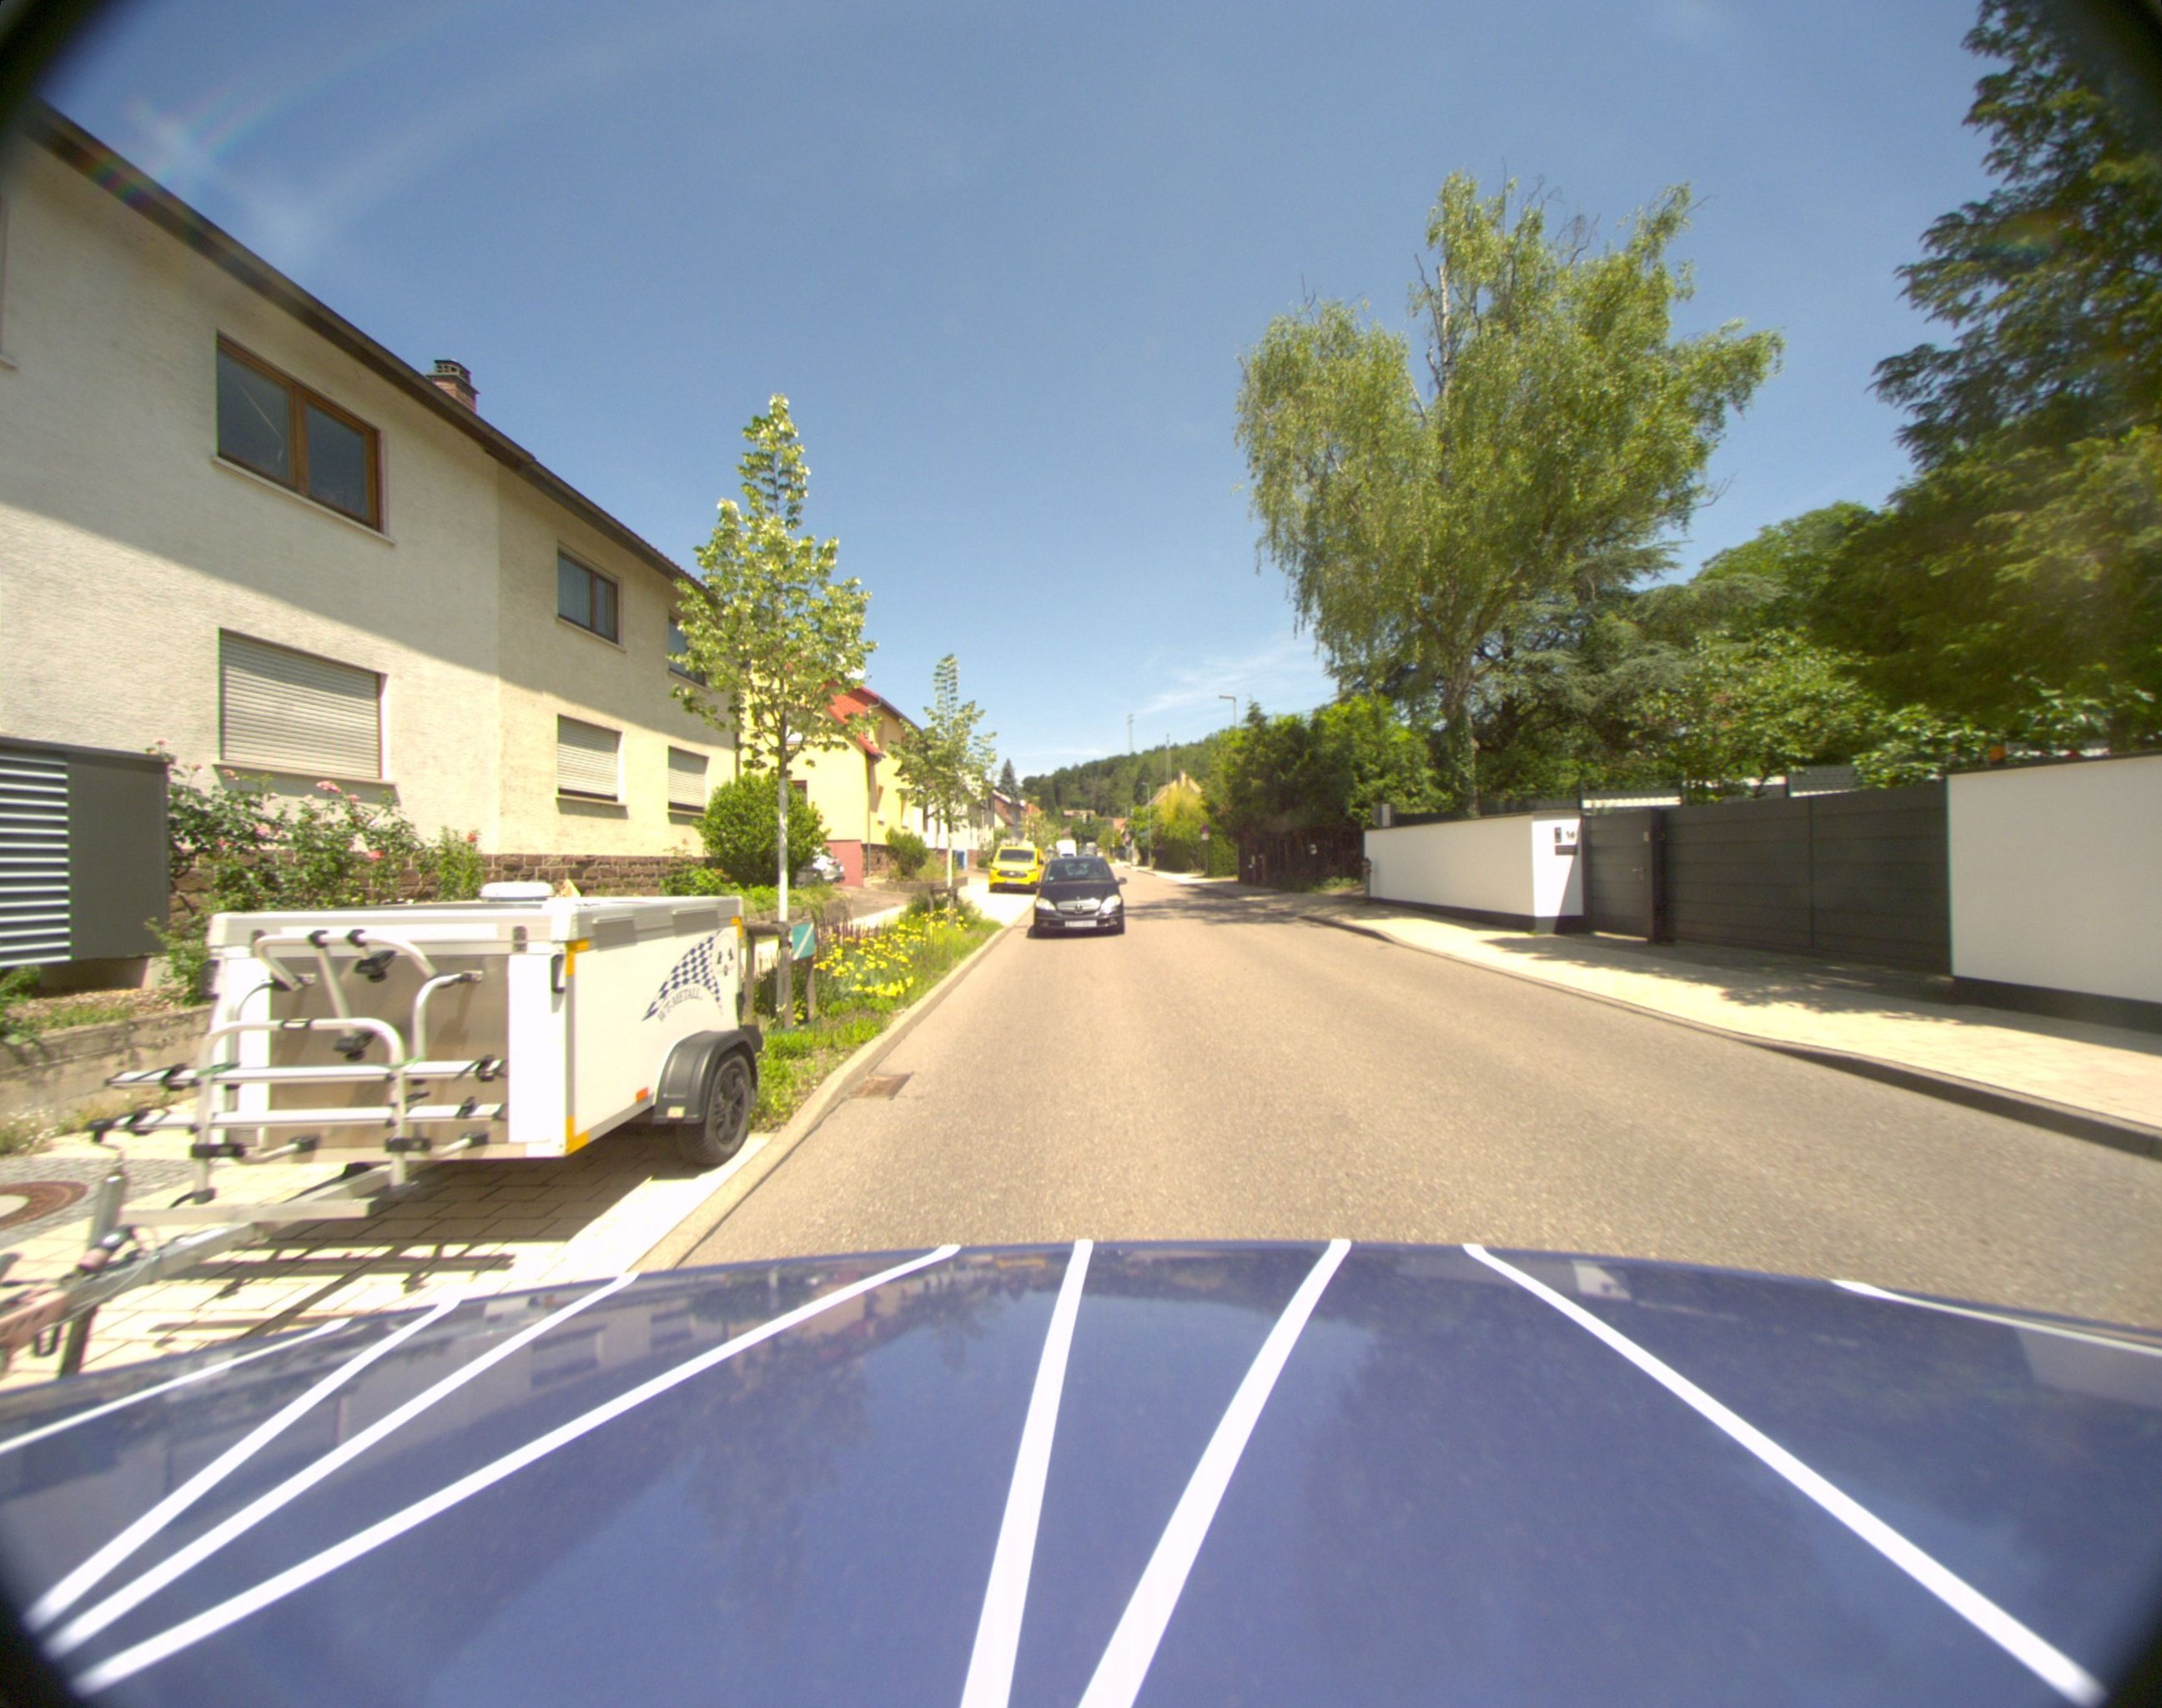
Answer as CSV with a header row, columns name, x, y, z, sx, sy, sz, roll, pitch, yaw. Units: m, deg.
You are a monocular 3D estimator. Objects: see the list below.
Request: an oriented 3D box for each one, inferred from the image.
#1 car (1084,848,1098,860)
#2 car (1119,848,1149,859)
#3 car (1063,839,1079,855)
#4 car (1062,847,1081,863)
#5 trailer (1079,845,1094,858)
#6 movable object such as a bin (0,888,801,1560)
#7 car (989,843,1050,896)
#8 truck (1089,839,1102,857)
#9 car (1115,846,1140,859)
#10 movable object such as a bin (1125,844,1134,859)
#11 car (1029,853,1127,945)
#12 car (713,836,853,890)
name,x,y,z,sx,sy,sz,roll,pitch,yaw
car,1.382,-0.014,105.295,1.872,1.643,3.948,-3,0,0
car,7.687,-0.067,110.561,4.040,1.491,1.707,-2,2,38
car,-1.436,-1.018,109.100,1.987,2.170,3.999,-3,1,1
car,-1.074,0.089,86.665,1.999,1.716,3.999,-3,1,-1
trailer,0.849,-0.408,124.219,2.161,1.975,6.199,-3,1,-2
movable object such as a bin,-2.581,0.962,3.324,1.576,1.408,3.040,-1,1,-1
car,-2.564,0.573,33.030,2.195,2.002,5.621,3,1,-1
truck,3.128,-1.250,158.932,2.548,3.716,8.621,-1,0,2
car,7.003,-0.261,114.767,3.606,1.780,1.848,-3,1,-1
movable object such as a bin,6.988,-0.388,108.867,1.062,2.002,1.322,-3,2,0
car,-0.010,0.841,16.713,1.767,1.572,4.930,-3,1,1
car,-10.119,0.304,26.032,3.998,1.667,1.873,2,1,-2
